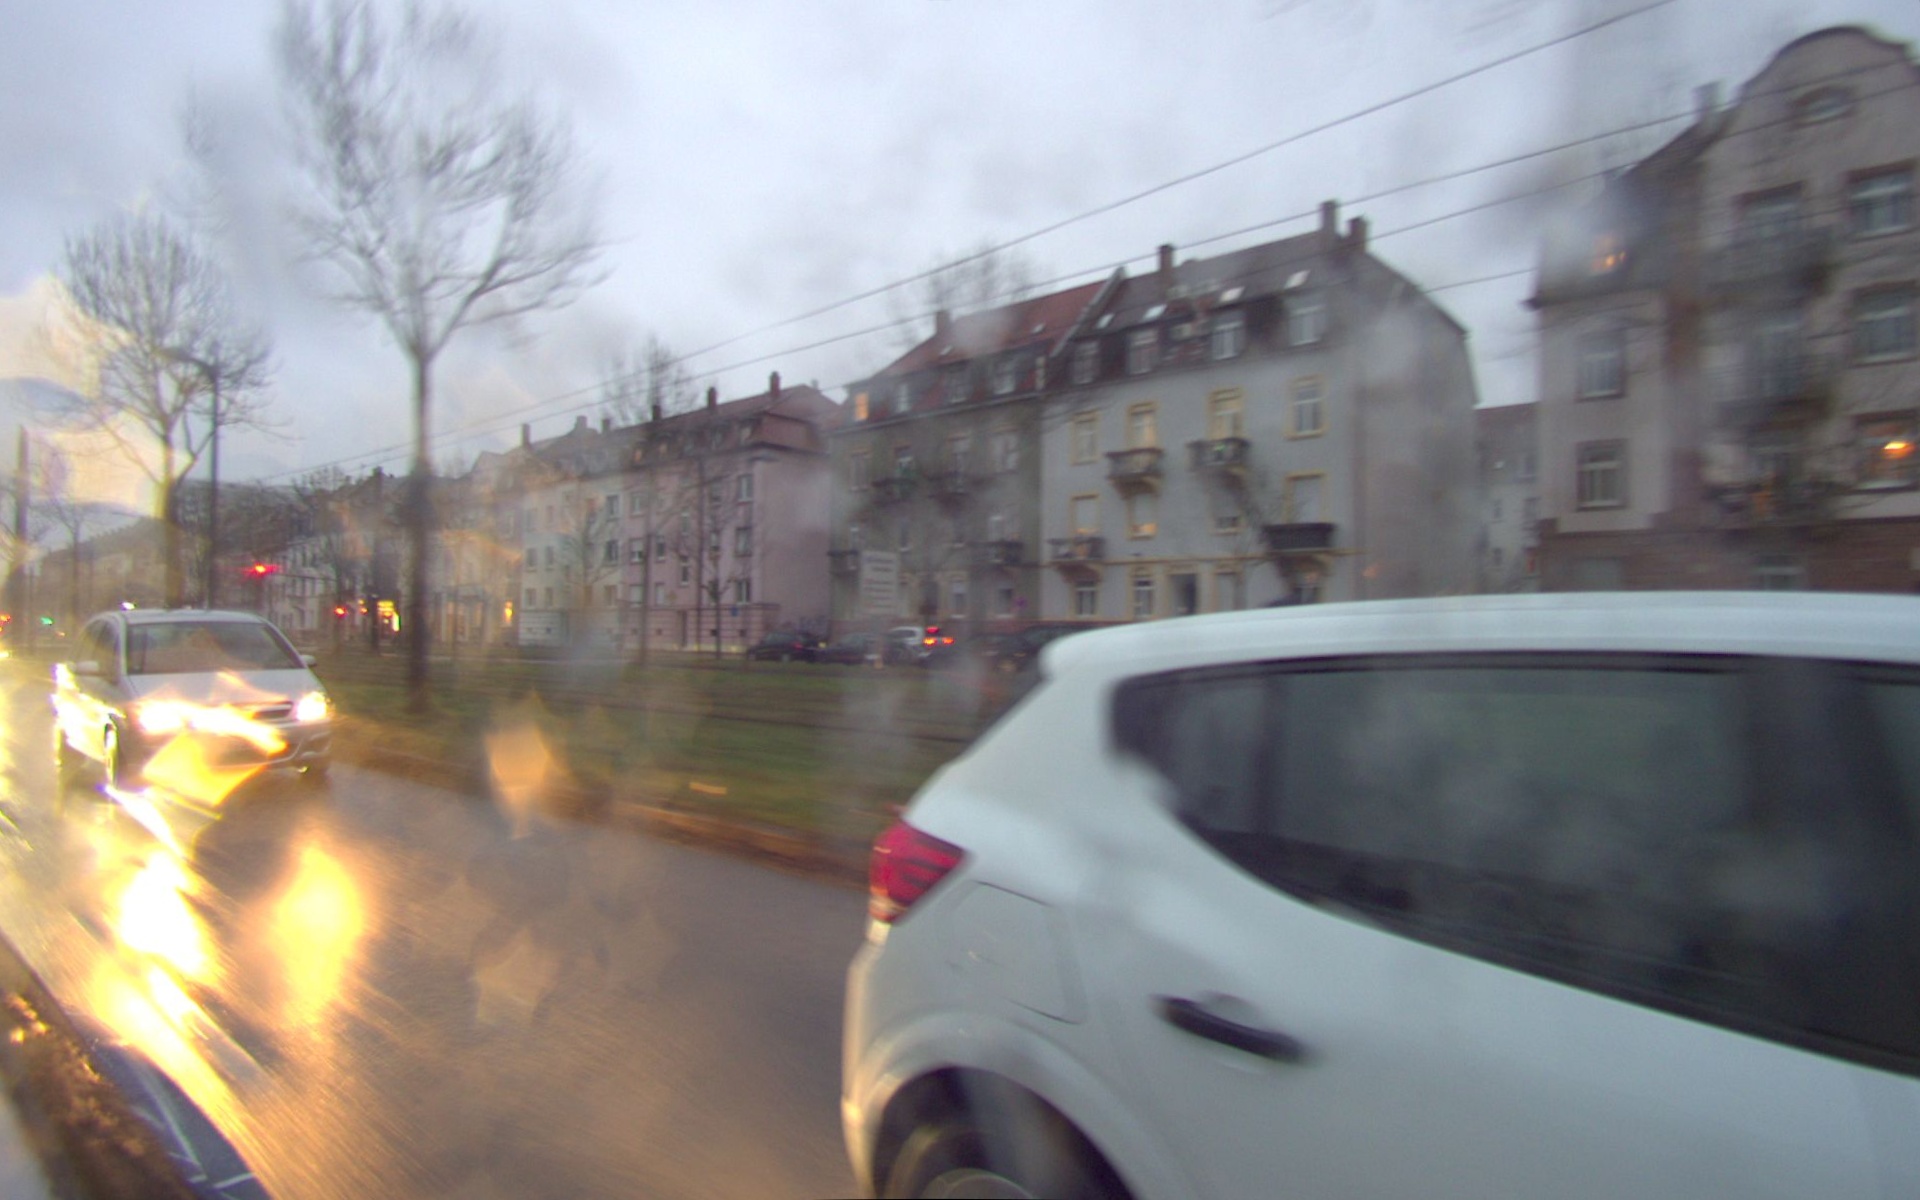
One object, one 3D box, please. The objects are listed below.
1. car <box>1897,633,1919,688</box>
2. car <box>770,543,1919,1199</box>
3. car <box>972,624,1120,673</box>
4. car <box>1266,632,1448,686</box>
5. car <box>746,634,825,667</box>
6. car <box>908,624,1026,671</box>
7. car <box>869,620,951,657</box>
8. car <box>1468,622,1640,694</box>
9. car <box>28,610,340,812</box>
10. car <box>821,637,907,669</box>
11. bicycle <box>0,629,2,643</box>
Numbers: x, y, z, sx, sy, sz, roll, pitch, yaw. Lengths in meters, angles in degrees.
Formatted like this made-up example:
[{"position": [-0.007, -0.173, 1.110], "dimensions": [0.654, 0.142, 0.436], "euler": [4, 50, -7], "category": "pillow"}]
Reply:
[{"position": [19.528, 1.110, 18.821], "dimensions": [2.870, 0.997, 1.800], "euler": [-3, 2, -14], "category": "car"}, {"position": [1.655, 0.680, 1.297], "dimensions": [4.000, 1.485, 1.670], "euler": [-1, 0, 43], "category": "car"}, {"position": [2.834, 1.582, 33.641], "dimensions": [4.586, 1.443, 1.698], "euler": [-1, 0, -13], "category": "car"}, {"position": [10.708, 1.558, 27.417], "dimensions": [4.198, 1.267, 1.837], "euler": [-1, 0, -9], "category": "car"}, {"position": [-7.926, 2.255, 45.679], "dimensions": [3.910, 1.350, 1.449], "euler": [-1, 0, 43], "category": "car"}, {"position": [0.211, 1.664, 35.892], "dimensions": [3.888, 1.459, 1.823], "euler": [-1, 0, -9], "category": "car"}, {"position": [-2.296, 1.719, 45.989], "dimensions": [3.536, 1.563, 1.662], "euler": [-1, 0, 41], "category": "car"}, {"position": [13.867, 1.293, 23.646], "dimensions": [3.305, 1.428, 1.884], "euler": [-1, 1, -24], "category": "car"}, {"position": [-7.551, 0.892, 9.712], "dimensions": [3.905, 1.531, 1.617], "euler": [-1, 0, 41], "category": "car"}, {"position": [-4.010, 2.157, 41.806], "dimensions": [3.898, 1.177, 1.217], "euler": [-1, 0, 42], "category": "car"}, {"position": [-63.811, 2.349, 66.118], "dimensions": [0.732, 0.905, 1.703], "euler": [0, -3, 41], "category": "bicycle"}]
